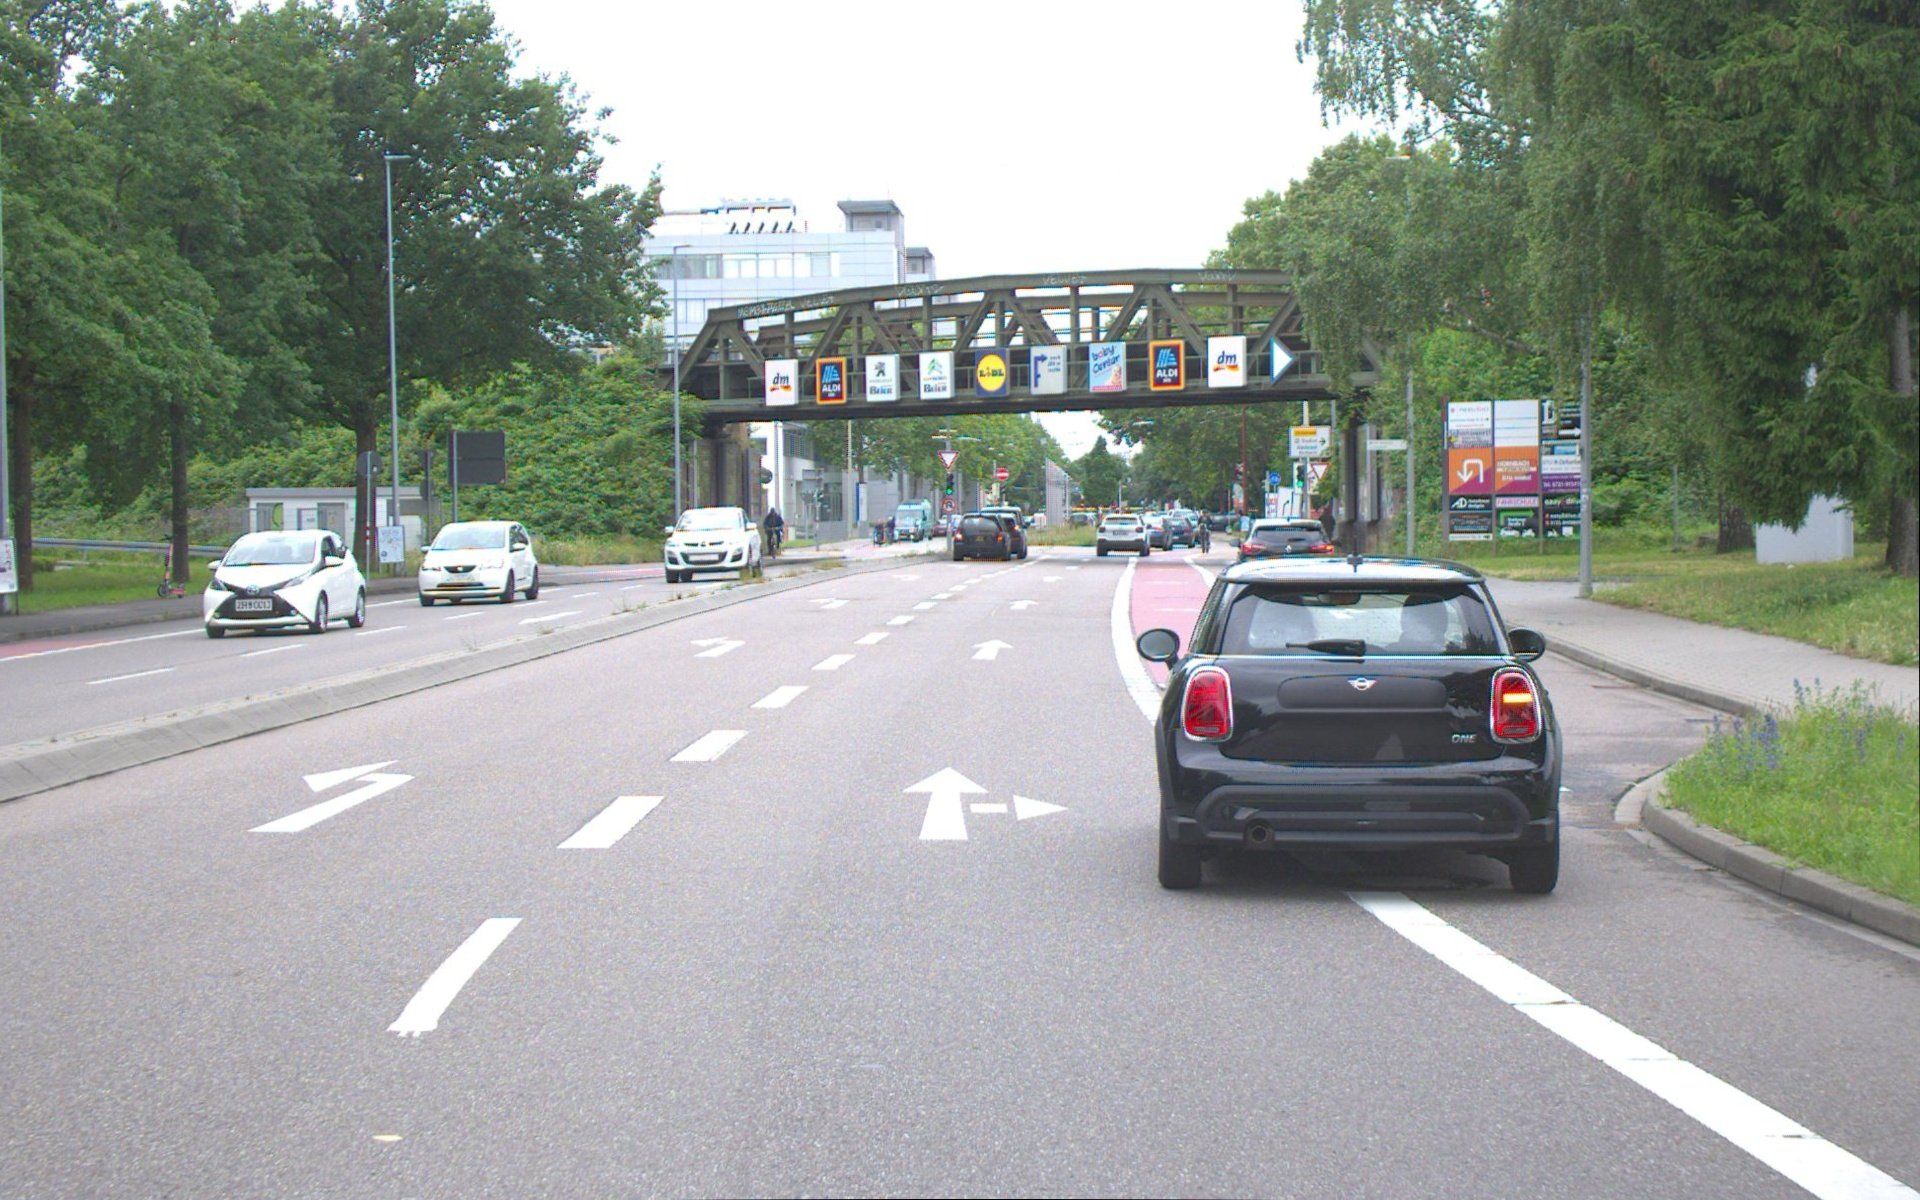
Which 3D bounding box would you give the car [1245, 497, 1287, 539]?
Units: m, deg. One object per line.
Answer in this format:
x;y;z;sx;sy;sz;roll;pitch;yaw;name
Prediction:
14.475;-3.895;162.608;1.950;1.809;4.000;1;3;5;car

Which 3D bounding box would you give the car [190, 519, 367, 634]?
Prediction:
-9.539;-0.357;48.347;1.754;1.441;3.339;0;3;1;car

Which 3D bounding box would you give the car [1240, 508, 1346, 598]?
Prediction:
5.806;-0.848;59.810;1.757;1.429;4.000;-1;2;6;car

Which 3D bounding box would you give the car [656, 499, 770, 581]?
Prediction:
-5.475;-1.356;76.650;1.940;1.670;3.782;1;3;5;car

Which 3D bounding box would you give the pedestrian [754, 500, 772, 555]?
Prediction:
-7.252;-2.678;126.278;0.540;2.006;0.484;1;3;14;pedestrian

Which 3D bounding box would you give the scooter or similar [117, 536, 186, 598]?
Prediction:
-15.235;-0.632;64.857;0.762;1.086;2.007;0;3;2;scooter or similar

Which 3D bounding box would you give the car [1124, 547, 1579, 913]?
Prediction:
1.724;0.494;15.705;1.786;1.411;3.643;2;1;5;car

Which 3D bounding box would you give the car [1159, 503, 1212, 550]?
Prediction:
8.612;-2.810;130.935;1.884;1.656;3.782;1;3;5;car

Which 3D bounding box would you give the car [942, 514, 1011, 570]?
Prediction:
0.560;-1.884;111.231;1.884;1.656;3.782;1;3;5;car

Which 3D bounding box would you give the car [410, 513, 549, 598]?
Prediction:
-8.624;-0.830;61.964;1.720;1.366;3.440;1;3;5;car

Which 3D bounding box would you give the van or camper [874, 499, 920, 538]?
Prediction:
-4.099;-5.362;224.357;1.994;2.477;7.026;-1;2;7;van or camper

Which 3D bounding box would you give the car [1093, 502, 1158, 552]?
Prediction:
5.991;-2.632;124.055;2.136;1.656;3.782;1;3;5;car

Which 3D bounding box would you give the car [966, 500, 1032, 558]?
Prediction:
1.368;-2.457;118.088;1.950;1.809;4.000;1;3;5;car

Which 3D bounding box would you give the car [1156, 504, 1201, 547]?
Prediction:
9.997;-3.408;157.165;1.950;1.809;4.000;1;3;5;car
